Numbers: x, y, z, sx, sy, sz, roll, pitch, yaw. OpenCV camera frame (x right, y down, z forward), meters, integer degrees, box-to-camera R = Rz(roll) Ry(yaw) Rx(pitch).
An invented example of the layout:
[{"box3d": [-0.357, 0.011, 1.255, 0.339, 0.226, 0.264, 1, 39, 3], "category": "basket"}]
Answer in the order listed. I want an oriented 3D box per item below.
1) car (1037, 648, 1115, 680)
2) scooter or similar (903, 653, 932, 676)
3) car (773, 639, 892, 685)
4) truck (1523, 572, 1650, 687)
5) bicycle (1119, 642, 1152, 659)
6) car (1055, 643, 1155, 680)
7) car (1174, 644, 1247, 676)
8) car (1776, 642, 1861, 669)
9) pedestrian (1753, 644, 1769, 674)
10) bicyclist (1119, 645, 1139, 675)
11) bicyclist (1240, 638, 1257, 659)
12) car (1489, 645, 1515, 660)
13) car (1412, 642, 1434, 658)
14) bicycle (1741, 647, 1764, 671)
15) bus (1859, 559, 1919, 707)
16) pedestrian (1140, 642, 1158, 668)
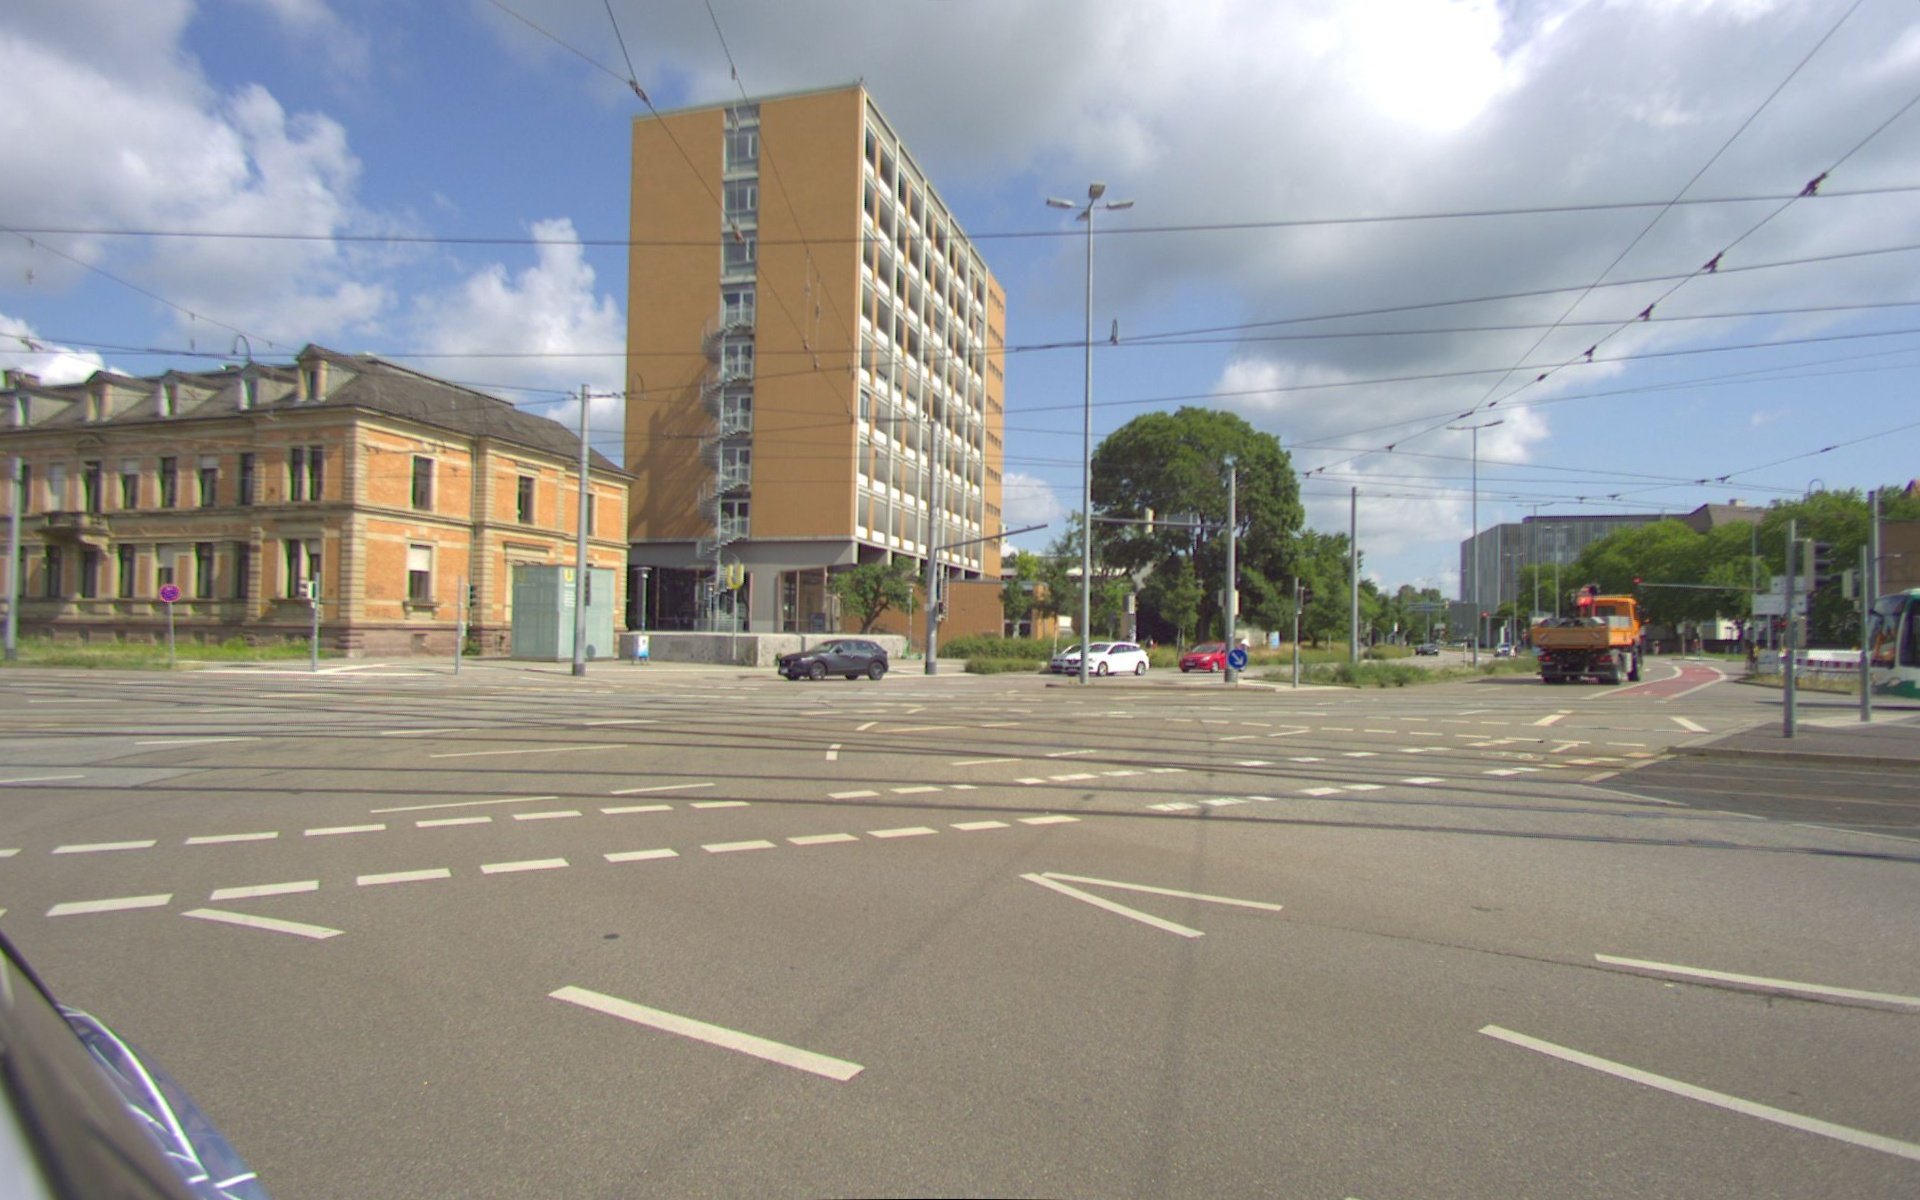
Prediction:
[{"box3d": [5.381, 2.922, 46.702, 1.587, 1.396, 4.023, -4, -4, 40], "category": "car"}, {"box3d": [-2.363, 3.528, 55.670, 1.513, 1.192, 0.435, 3, -3, -7], "category": "scooter or similar"}, {"box3d": [-4.613, 2.246, 37.008, 4.147, 1.588, 1.648, 2, -4, -43], "category": "car"}, {"box3d": [24.619, 1.222, 39.580, 2.836, 4.039, 7.958, -1, -3, 42], "category": "truck"}, {"box3d": [9.949, 2.859, 57.396, 1.778, 0.881, 0.763, 3, -1, -31], "category": "bicycle"}, {"box3d": [6.206, 2.593, 43.068, 4.604, 1.440, 1.764, 2, -4, -44], "category": "car"}, {"box3d": [12.199, 2.894, 49.095, 1.647, 1.479, 4.006, -4, -4, 43], "category": "car"}, {"box3d": [59.665, 3.872, 70.425, 1.965, 1.796, 4.013, 2, -3, -25], "category": "car"}, {"box3d": [48.708, 3.576, 61.554, 0.653, 1.777, 0.987, -2, -3, 44], "category": "pedestrian"}, {"box3d": [9.545, 3.398, 57.219, 0.921, 1.684, 0.581, 2, -2, -32], "category": "bicyclist"}, {"box3d": [20.185, 3.401, 70.760, 1.152, 1.468, 0.636, 3, -3, -44], "category": "bicyclist"}, {"box3d": [57.808, 5.635, 107.964, 1.817, 1.537, 3.974, 0, -2, 19], "category": "car"}, {"box3d": [52.477, 5.698, 114.675, 1.986, 1.769, 3.971, 0, -2, 21], "category": "car"}, {"box3d": [49.123, 3.665, 62.740, 0.971, 1.421, 2.266, -1, -3, 35], "category": "bicycle"}, {"box3d": [29.540, 0.859, 23.660, 12.309, 3.648, 2.890, 0, -2, 26], "category": "bus"}, {"box3d": [11.698, 3.380, 62.660, 0.944, 1.590, 0.769, 1, -2, 0], "category": "pedestrian"}]
